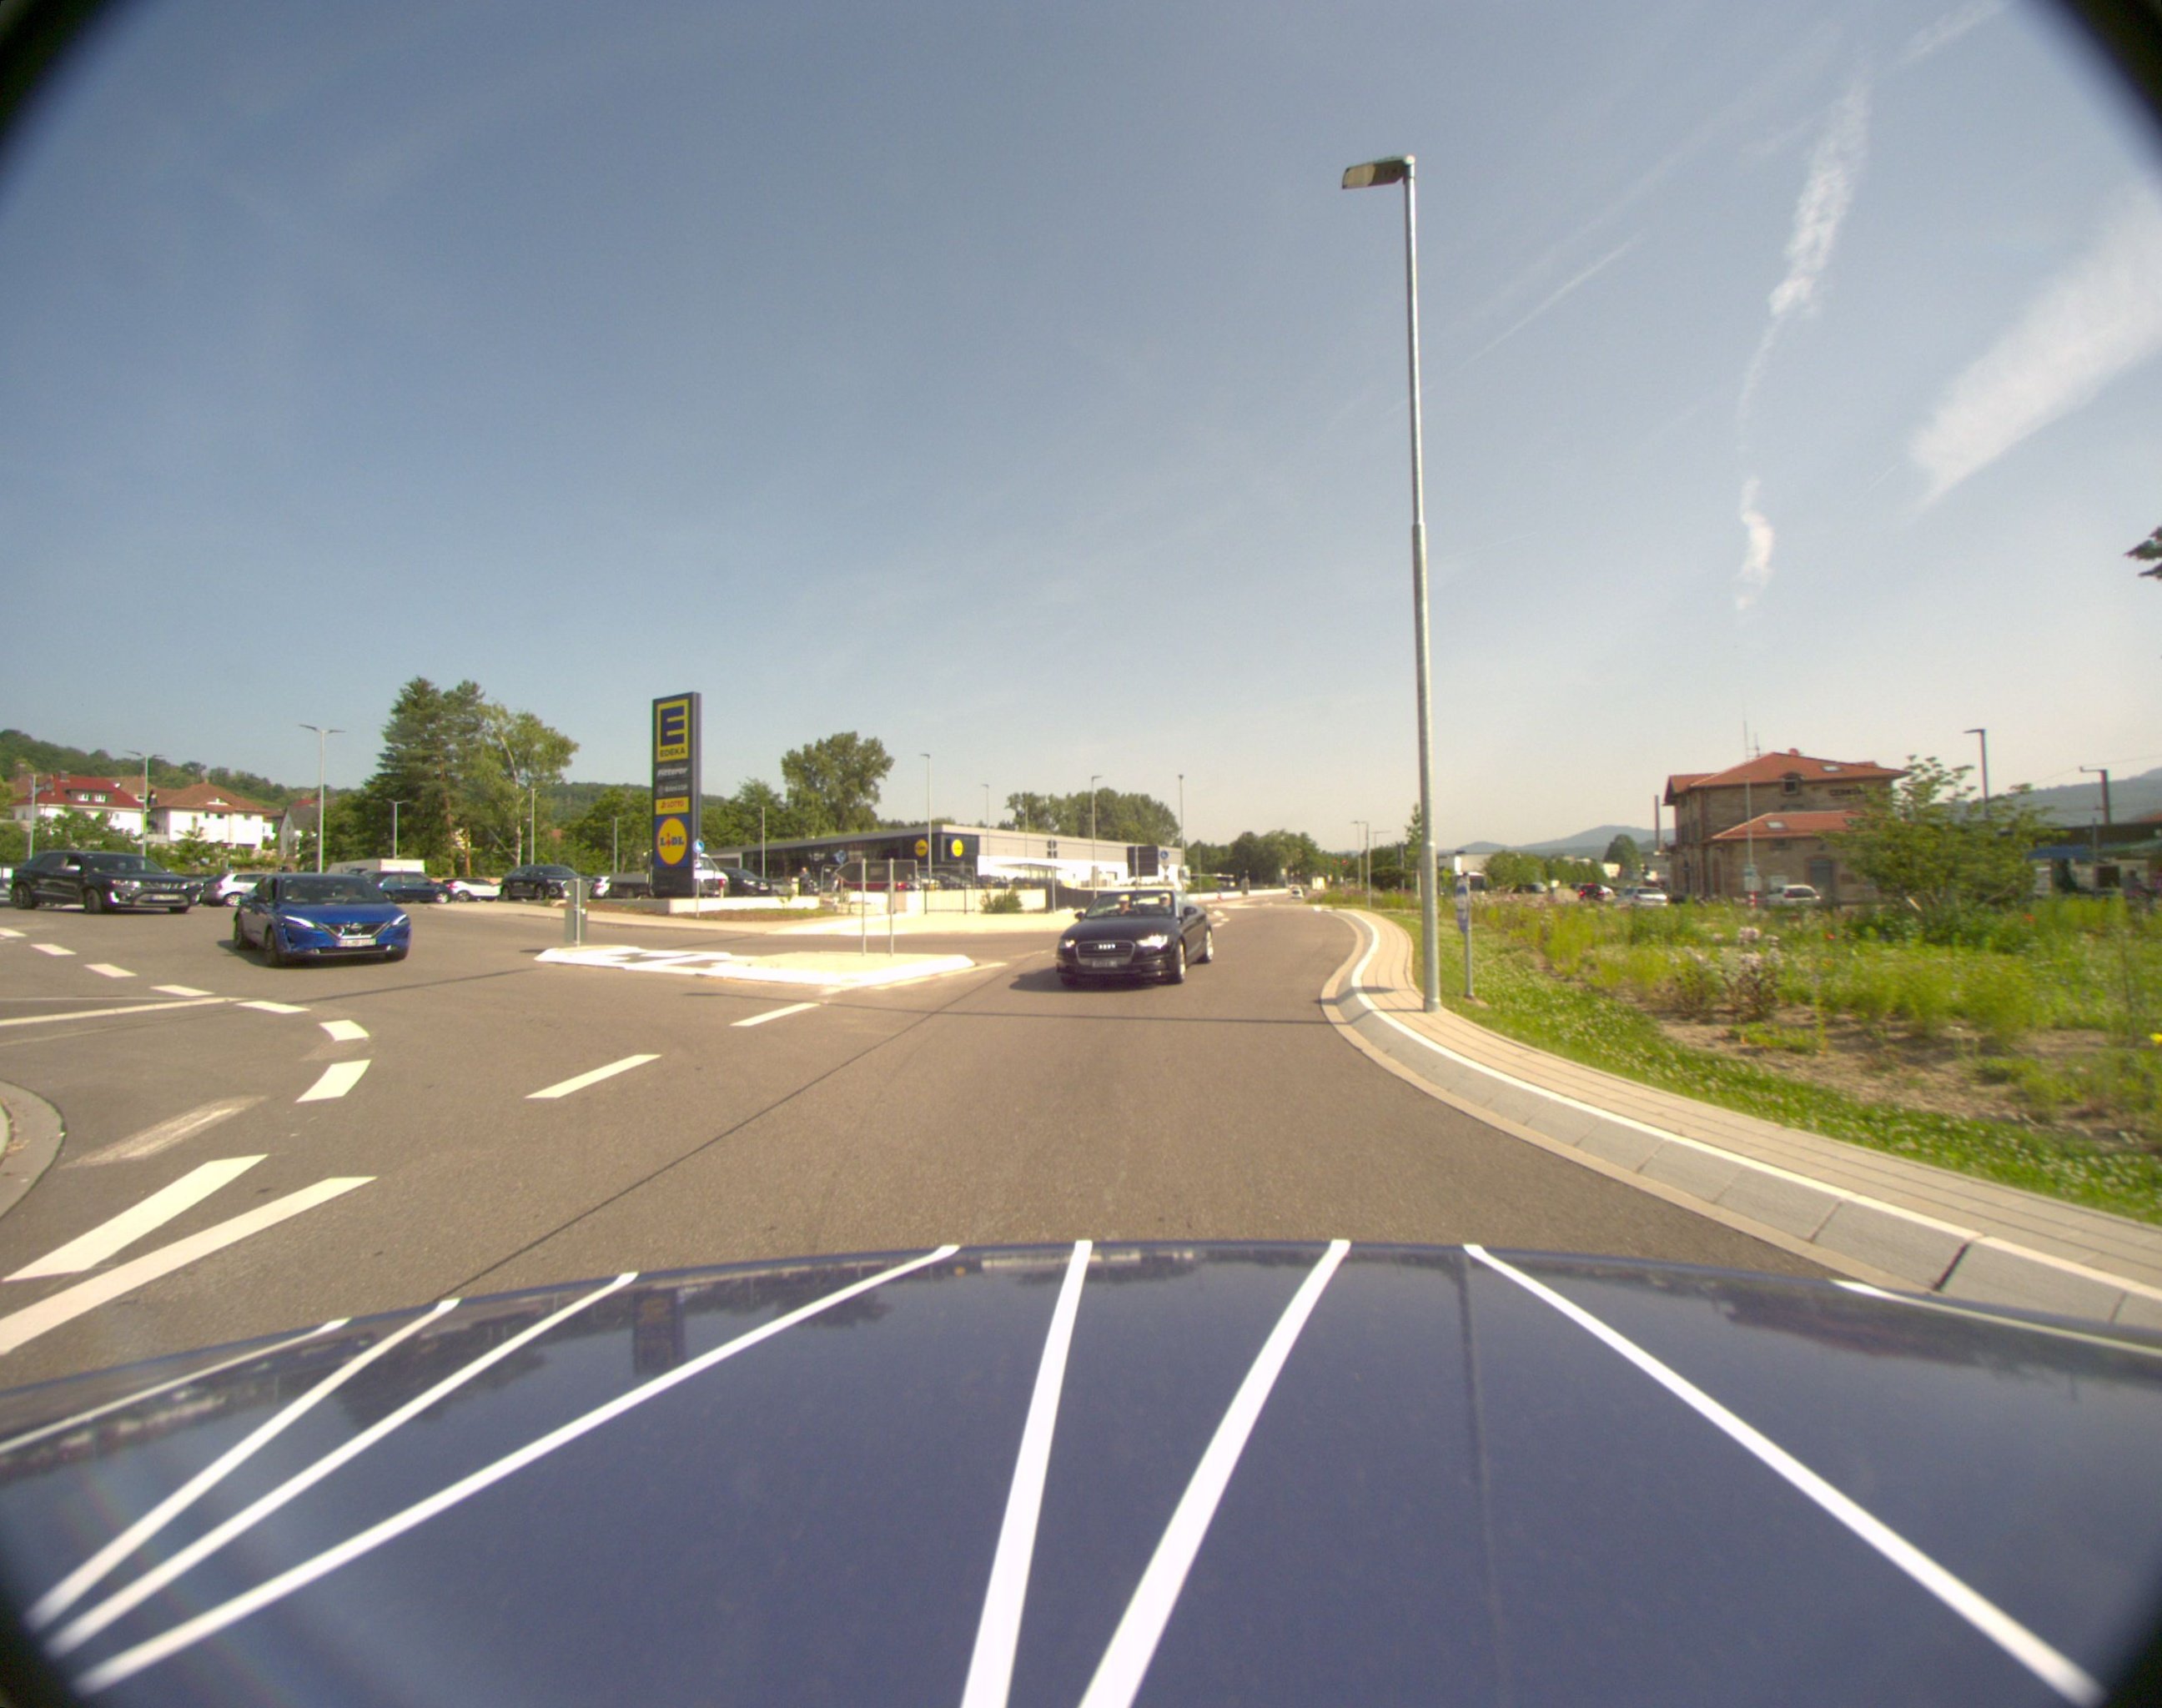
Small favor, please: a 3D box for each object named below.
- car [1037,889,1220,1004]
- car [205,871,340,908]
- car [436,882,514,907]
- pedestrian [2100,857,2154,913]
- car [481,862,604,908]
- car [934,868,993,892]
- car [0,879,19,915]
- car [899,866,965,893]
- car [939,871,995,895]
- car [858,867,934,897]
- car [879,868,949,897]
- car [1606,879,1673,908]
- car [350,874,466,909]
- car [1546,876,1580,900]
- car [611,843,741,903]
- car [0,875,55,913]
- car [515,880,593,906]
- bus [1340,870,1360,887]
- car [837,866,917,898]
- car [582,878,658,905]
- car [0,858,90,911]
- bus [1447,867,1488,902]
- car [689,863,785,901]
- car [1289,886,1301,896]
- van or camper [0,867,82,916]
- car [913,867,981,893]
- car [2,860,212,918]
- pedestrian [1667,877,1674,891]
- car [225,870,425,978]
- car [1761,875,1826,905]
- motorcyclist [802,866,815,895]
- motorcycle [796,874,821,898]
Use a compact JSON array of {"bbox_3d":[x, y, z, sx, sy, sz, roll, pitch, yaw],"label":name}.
[{"bbox_3d":[0.954,1.320,11.994,1.719,1.314,4.230,-3,-2,19],"label":"car"},{"bbox_3d":[-34.448,1.488,32.490,1.522,1.436,3.639,-4,-3,24],"label":"car"},{"bbox_3d":[-41.973,2.761,52.714,1.759,1.564,3.794,-4,-3,23],"label":"car"},{"bbox_3d":[39.230,1.167,28.514,0.858,2.001,0.709,-3,-3,-3],"label":"pedestrian"},{"bbox_3d":[-21.260,1.234,29.960,4.849,1.520,1.926,-5,-3,28],"label":"car"},{"bbox_3d":[-8.819,1.966,57.092,3.995,1.564,1.705,-3,-3,5],"label":"car"},{"bbox_3d":[-62.092,2.383,41.334,1.996,1.963,4.656,-4,-3,22],"label":"car"},{"bbox_3d":[-10.085,1.744,51.664,3.995,1.564,1.705,-3,-3,5],"label":"car"},{"bbox_3d":[-8.949,2.290,59.729,3.995,1.564,1.705,-3,-3,5],"label":"car"},{"bbox_3d":[-11.118,1.708,45.891,4.017,1.564,1.781,-4,-3,8],"label":"car"},{"bbox_3d":[-10.689,1.846,48.899,3.995,1.564,1.705,-3,-3,5],"label":"car"},{"bbox_3d":[31.222,2.197,42.619,1.672,1.522,4.006,0,-2,15],"label":"car"},{"bbox_3d":[-32.596,1.801,36.912,1.759,1.564,3.794,-4,-3,23],"label":"car"},{"bbox_3d":[44.468,3.145,70.036,1.974,1.952,5.169,-5,-4,39],"label":"car"},{"bbox_3d":[-18.798,0.933,35.211,6.078,2.368,2.065,-5,-3,26],"label":"car"},{"bbox_3d":[-58.176,2.119,39.953,1.996,1.963,4.656,-4,-3,22],"label":"car"},{"bbox_3d":[-34.483,2.553,49.834,1.759,1.564,3.794,-4,-3,23],"label":"car"},{"bbox_3d":[53.013,4.862,149.628,2.863,3.172,9.136,-3,-3,24],"label":"bus"},{"bbox_3d":[-11.689,1.618,43.632,4.017,1.564,1.781,-4,-3,8],"label":"car"},{"bbox_3d":[-29.025,2.320,47.927,1.662,1.564,3.794,-4,-3,23],"label":"car"},{"bbox_3d":[-55.317,1.609,39.246,1.996,2.600,4.656,-4,-3,22],"label":"car"},{"bbox_3d":[41.035,3.197,80.923,2.583,3.307,10.608,-4,-3,21],"label":"bus"},{"bbox_3d":[-17.035,1.404,37.573,4.467,1.592,1.837,-5,-3,26],"label":"car"},{"bbox_3d":[32.637,5.660,115.925,1.779,1.389,4.006,-4,-3,15],"label":"car"},{"bbox_3d":[-64.549,2.259,45.526,2.290,2.829,5.296,-4,-3,22],"label":"van or camper"},{"bbox_3d":[-9.537,1.845,54.109,4.411,1.564,1.705,-3,-3,5],"label":"car"},{"bbox_3d":[-25.779,0.899,20.147,4.223,1.384,1.645,1,-1,11],"label":"car"},{"bbox_3d":[53.112,2.696,68.437,0.371,1.155,0.507,-5,-3,31],"label":"pedestrian"},{"bbox_3d":[-14.835,1.243,14.857,4.340,1.653,1.892,2,-1,34],"label":"car"},{"bbox_3d":[42.650,2.125,45.573,1.676,1.559,3.658,-4,-2,25],"label":"car"},{"bbox_3d":[-14.804,1.462,41.278,0.515,1.533,0.582,-2,-3,-15],"label":"motorcyclist"},{"bbox_3d":[-14.643,1.717,40.781,0.592,1.183,1.899,1,-4,-41],"label":"motorcycle"}]
